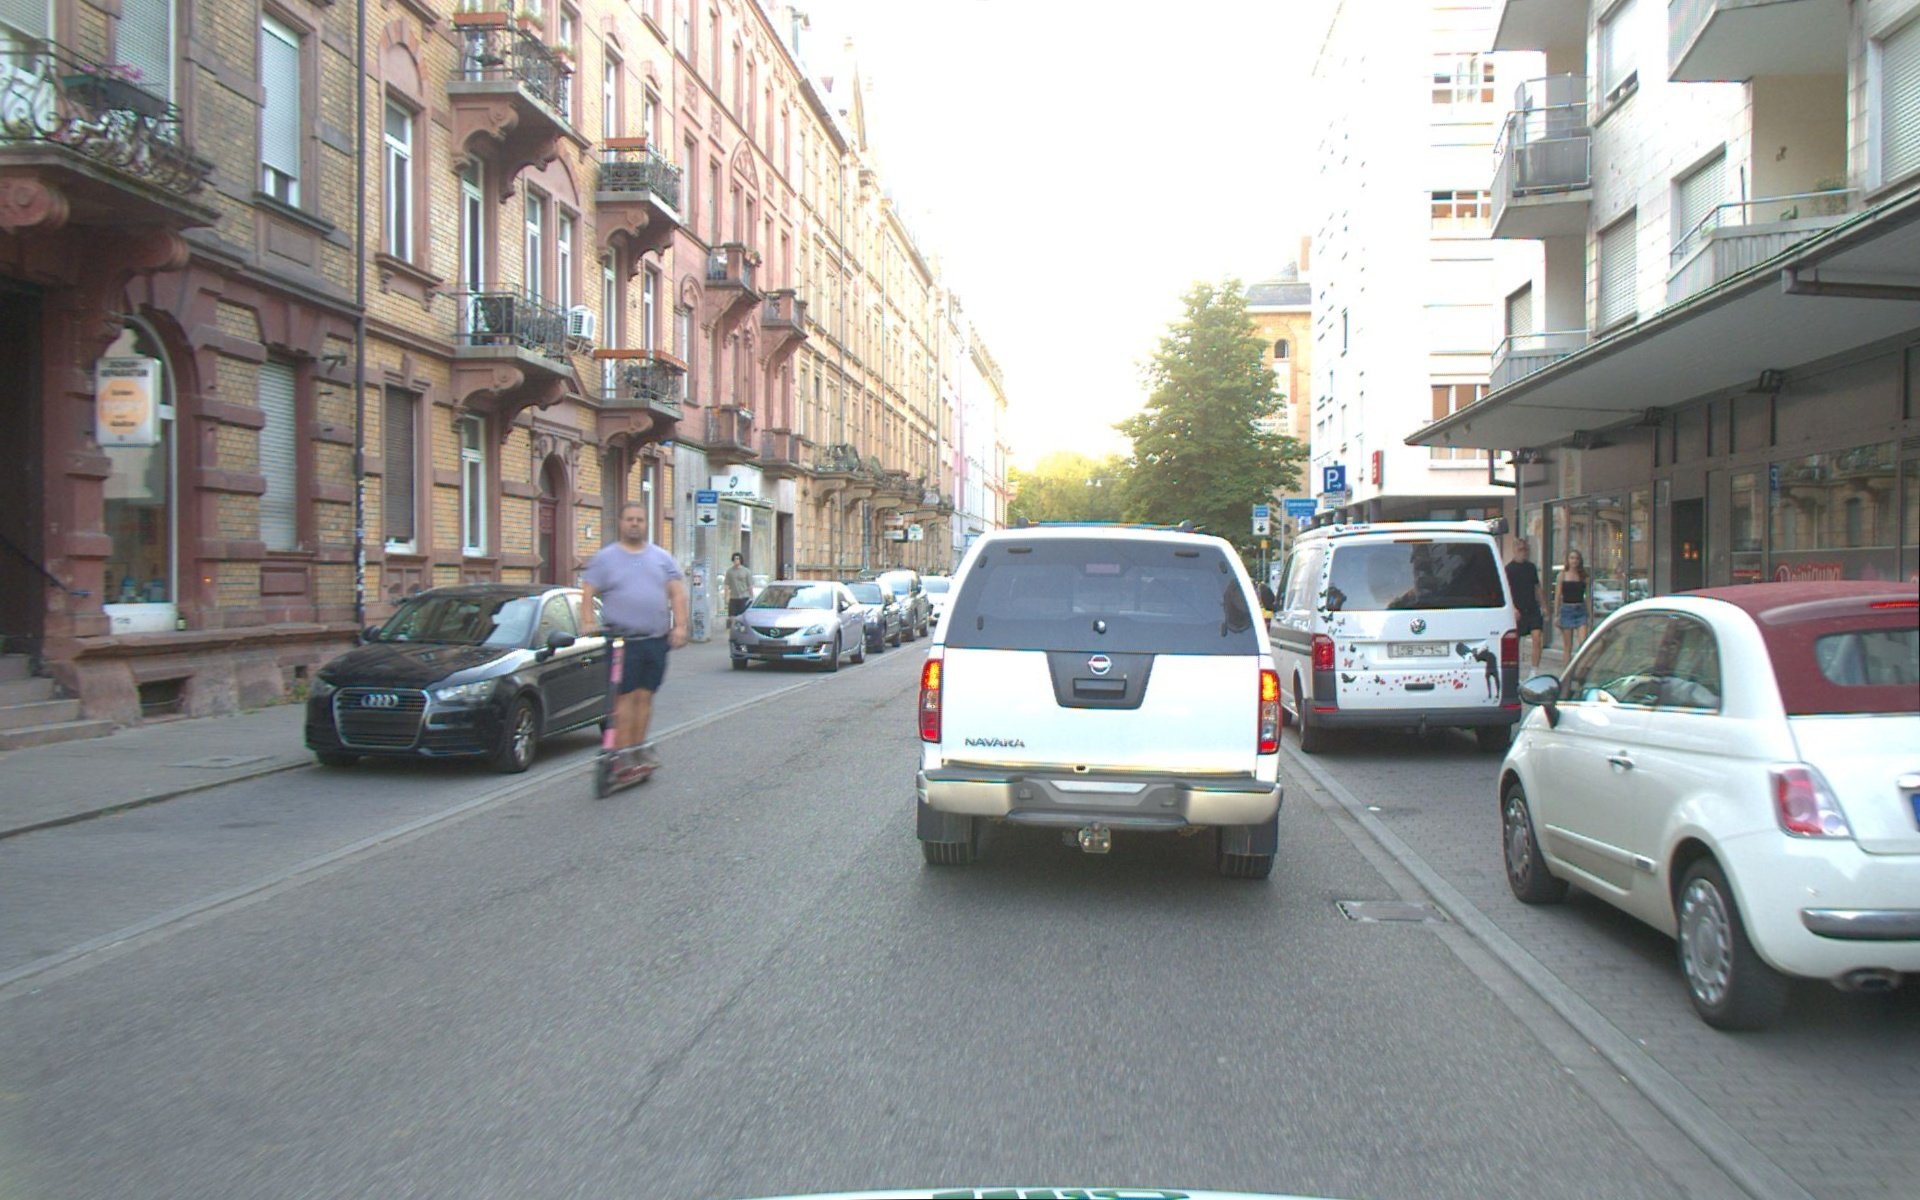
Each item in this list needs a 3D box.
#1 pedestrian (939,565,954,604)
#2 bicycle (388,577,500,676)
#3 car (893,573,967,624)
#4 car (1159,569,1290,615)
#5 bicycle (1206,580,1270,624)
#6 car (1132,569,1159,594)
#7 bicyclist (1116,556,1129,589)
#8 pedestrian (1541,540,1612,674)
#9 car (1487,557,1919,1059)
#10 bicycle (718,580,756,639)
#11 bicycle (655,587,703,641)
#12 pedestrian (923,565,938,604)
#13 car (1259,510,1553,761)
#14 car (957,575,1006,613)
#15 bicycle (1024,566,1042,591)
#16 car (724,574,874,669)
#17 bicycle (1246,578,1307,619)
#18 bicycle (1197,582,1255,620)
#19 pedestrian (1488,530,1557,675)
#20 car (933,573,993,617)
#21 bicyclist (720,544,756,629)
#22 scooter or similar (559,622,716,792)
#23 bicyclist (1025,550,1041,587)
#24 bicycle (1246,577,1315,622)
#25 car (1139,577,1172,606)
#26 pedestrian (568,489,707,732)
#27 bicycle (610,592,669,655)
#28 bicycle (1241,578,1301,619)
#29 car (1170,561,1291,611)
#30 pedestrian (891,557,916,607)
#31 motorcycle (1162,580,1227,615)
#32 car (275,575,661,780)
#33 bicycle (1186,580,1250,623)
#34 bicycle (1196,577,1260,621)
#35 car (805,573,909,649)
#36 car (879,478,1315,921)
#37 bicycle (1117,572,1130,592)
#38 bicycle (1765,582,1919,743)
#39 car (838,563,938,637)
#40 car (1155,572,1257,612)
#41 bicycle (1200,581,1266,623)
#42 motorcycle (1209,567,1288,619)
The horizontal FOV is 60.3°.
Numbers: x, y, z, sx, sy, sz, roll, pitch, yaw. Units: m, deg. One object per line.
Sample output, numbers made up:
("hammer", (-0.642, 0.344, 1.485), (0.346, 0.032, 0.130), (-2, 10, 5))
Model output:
("pedestrian", (-0.633, -0.736, 78.359), (0.593, 1.803, 0.777), (3, 1, 1))
("bicycle", (-6.628, 0.315, 21.361), (0.516, 1.191, 2.049), (2, 1, 8))
("car", (-0.862, -0.084, 50.251), (1.721, 1.436, 4.512), (1, 1, 5))
("car", (9.425, -0.290, 59.125), (4.333, 1.480, 1.779), (-2, 1, -1))
("bicycle", (7.626, 0.050, 45.413), (1.685, 1.137, 0.707), (-2, 0, 8))
("car", (12.183, -1.245, 108.428), (1.640, 1.527, 3.904), (-3, 0, 7))
("bicyclist", (9.013, -1.537, 91.562), (0.631, 1.791, 0.648), (-2, 1, 3))
("pedestrian", (7.989, 0.088, 21.459), (0.693, 1.695, 0.745), (-2, -1, 11))
("car", (3.429, 0.610, 6.792), (1.559, 1.527, 3.425), (-2, 1, 3))
("bicycle", (-4.693, 0.196, 34.874), (0.694, 1.217, 1.740), (1, 0, -5))
("bicycle", (-5.691, 0.271, 33.609), (0.440, 1.040, 1.849), (3, 1, 6))
("pedestrian", (-1.407, -0.734, 78.343), (0.568, 1.802, 0.998), (3, 2, 1))
("car", (4.106, 0.245, 16.076), (1.917, 2.008, 5.006), (-2, 1, 6))
("car", (0.927, -0.282, 67.581), (1.746, 1.447, 4.488), (2, 1, 3))
("bicycle", (3.377, -1.006, 76.573), (0.632, 1.100, 2.168), (-2, 1, -1))
("car", (-2.638, 0.312, 28.148), (1.686, 1.445, 4.585), (1, 1, 5))
("bicycle", (9.127, -0.045, 47.716), (1.685, 1.137, 0.654), (-2, 0, 9))
("bicycle", (8.264, 0.028, 51.410), (1.683, 1.049, 0.668), (-4, -1, 8))
("pedestrian", (7.378, 0.035, 21.737), (0.693, 1.860, 0.861), (-2, -1, 10))
("car", (0.147, -0.224, 59.908), (1.680, 1.483, 4.003), (2, 1, 6))
("bicyclist", (-4.686, -0.284, 34.905), (0.694, 1.760, 0.842), (1, -1, -6))
("scooter or similar", (-2.295, 0.743, 11.901), (0.790, 1.123, 1.173), (-1, 1, 6))
("bicyclist", (3.370, -1.454, 76.581), (0.632, 1.649, 0.918), (-2, 1, -2))
("bicycle", (8.695, -0.004, 44.887), (1.689, 1.151, 0.578), (-2, 0, -7))
("car", (10.822, -0.506, 91.838), (1.641, 1.453, 4.481), (-4, 0, 6))
("pedestrian", (-2.304, 0.069, 11.888), (0.790, 1.689, 0.673), (-1, 1, 6))
("bicycle", (-5.841, 0.409, 30.263), (0.537, 1.055, 1.761), (3, 1, 6))
("bicycle", (9.075, -0.051, 48.294), (1.685, 1.137, 0.654), (-2, 0, 9))
("car", (10.083, -0.540, 61.840), (4.306, 1.676, 1.747), (-2, 1, 5))
("pedestrian", (-2.031, -0.642, 59.863), (0.542, 1.786, 1.022), (0, -1, 21))
("motorcycle", (7.803, -0.075, 55.153), (2.020, 1.097, 0.662), (-2, 0, -10))
("car", (-3.952, 0.529, 13.985), (1.657, 1.445, 3.858), (1, 1, 8))
("bicycle", (7.214, 0.050, 46.317), (1.686, 1.137, 0.707), (-2, 0, 3))
("bicycle", (7.980, -0.031, 49.212), (1.751, 1.202, 0.734), (-4, -1, 16))
("car", (-2.088, 0.189, 34.459), (1.551, 1.445, 3.699), (1, 1, 6))
("car", (0.947, 0.395, 9.909), (1.870, 1.885, 5.275), (2, 1, 8))
("bicycle", (9.029, -1.010, 91.426), (0.631, 1.100, 1.833), (-2, 1, 3))
("bicycle", (7.587, 0.473, 13.608), (0.893, 1.216, 1.708), (-2, 0, -8))
("car", (-1.676, -0.054, 40.115), (1.814, 1.662, 4.449), (1, 1, 5))
("car", (9.928, -0.329, 67.052), (3.903, 1.481, 1.829), (-2, 1, 3))
("bicycle", (7.765, 0.051, 47.059), (1.771, 1.137, 0.707), (-2, 0, 3))
("motorcycle", (9.425, -0.230, 54.093), (2.438, 1.576, 0.824), (-2, 0, 8))
